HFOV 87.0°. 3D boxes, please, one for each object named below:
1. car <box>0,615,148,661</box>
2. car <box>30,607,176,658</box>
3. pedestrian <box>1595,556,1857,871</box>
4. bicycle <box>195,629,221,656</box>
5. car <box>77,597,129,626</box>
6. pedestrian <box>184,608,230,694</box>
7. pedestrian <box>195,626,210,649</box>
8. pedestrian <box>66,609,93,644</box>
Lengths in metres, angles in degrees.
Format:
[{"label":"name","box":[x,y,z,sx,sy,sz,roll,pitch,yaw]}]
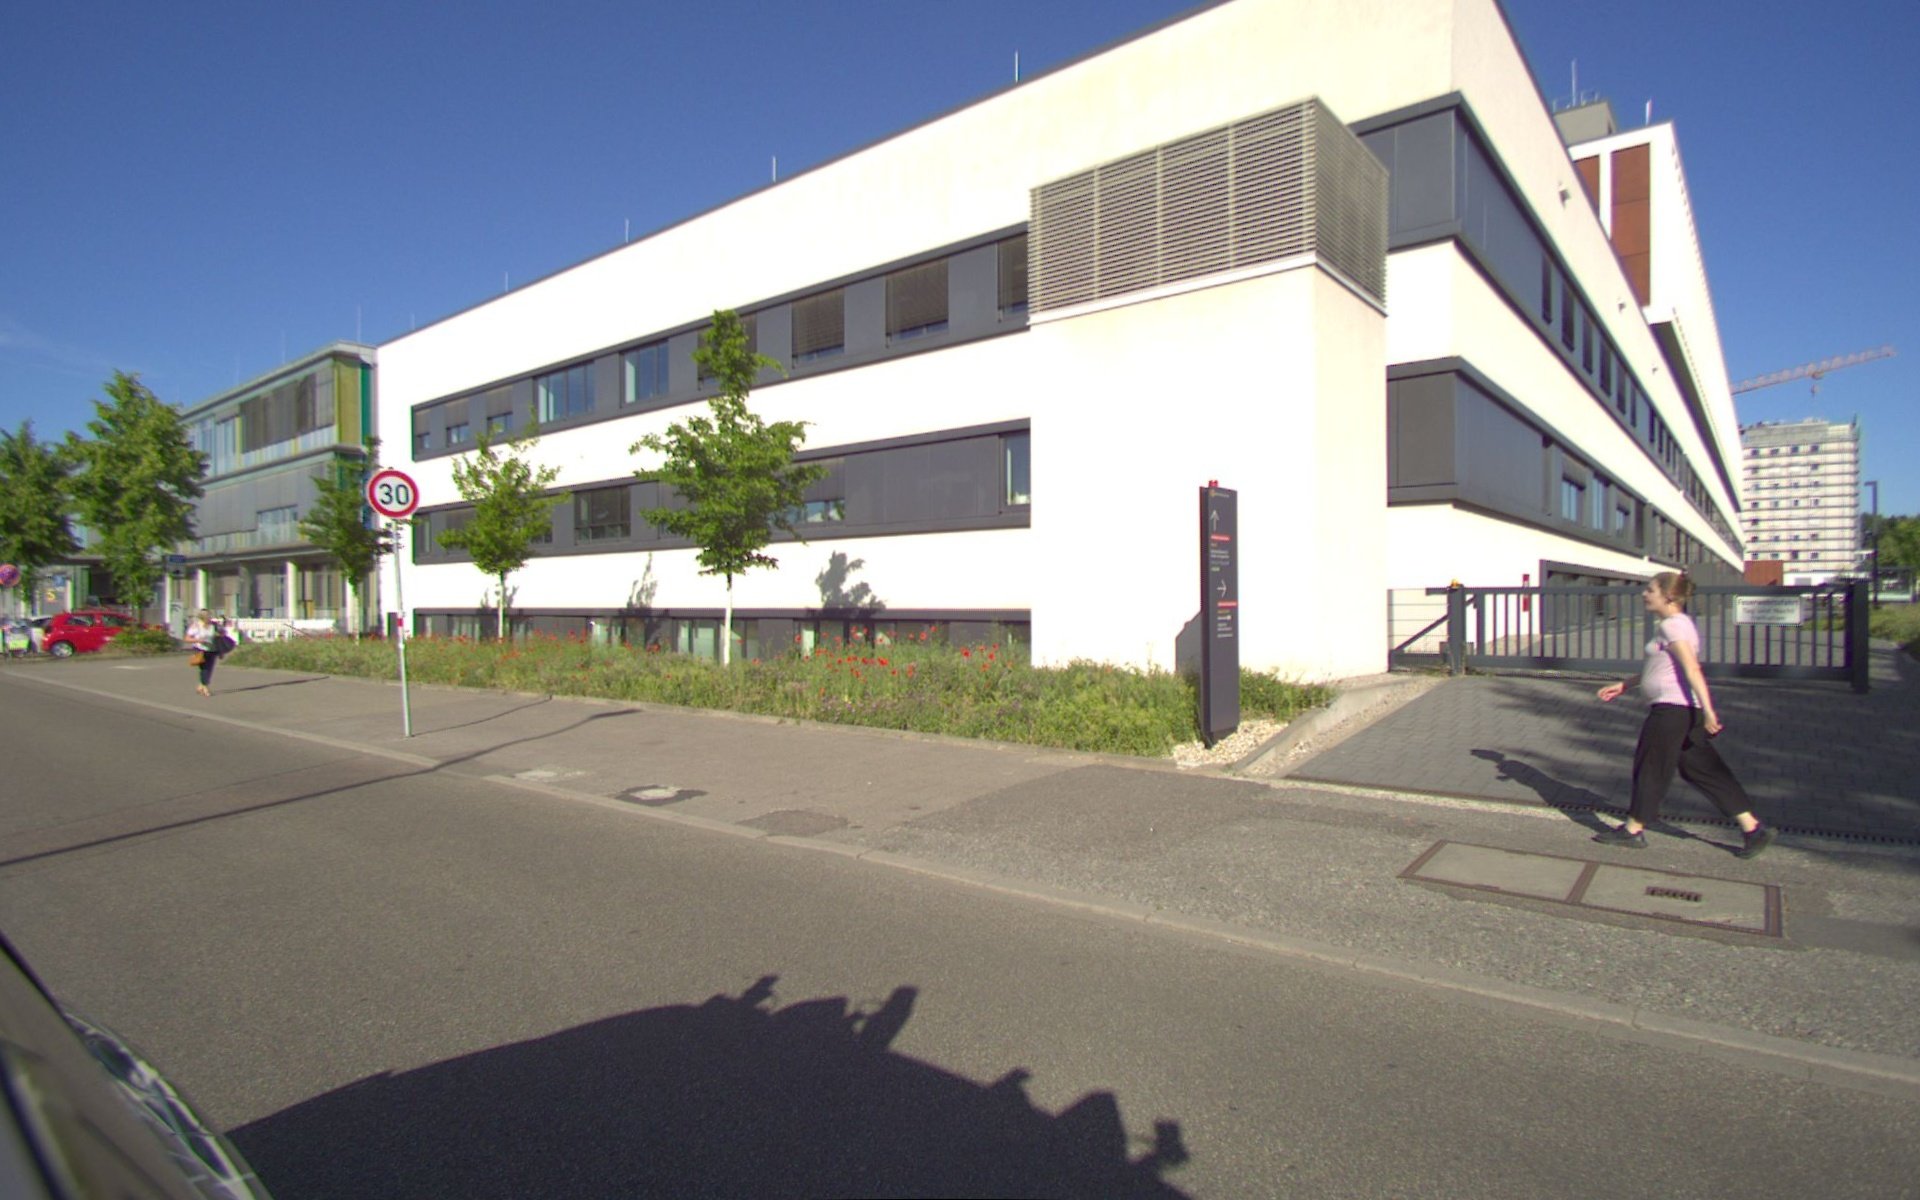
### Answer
[{"label":"car","box":[-30.598,1.259,34.405,1.699,1.377,4.464,-1,0,42]},{"label":"car","box":[-28.421,1.045,33.622,3.593,1.480,1.615,-2,1,-44]},{"label":"pedestrian","box":[4.214,0.575,5.620,1.095,1.574,0.516,-1,0,39]},{"label":"bicycle","box":[-31.847,1.789,42.857,1.860,1.120,0.529,-1,-1,42]},{"label":"car","box":[-58.993,0.793,69.648,4.706,1.905,1.900,-1,-1,39]},{"label":"pedestrian","box":[-13.823,0.913,18.579,0.607,1.535,0.533,-1,0,41]},{"label":"pedestrian","box":[-40.215,1.997,53.718,0.555,1.182,0.526,-1,0,40]},{"label":"pedestrian","box":[-40.077,1.207,46.047,0.779,1.560,0.765,0,2,40]}]
